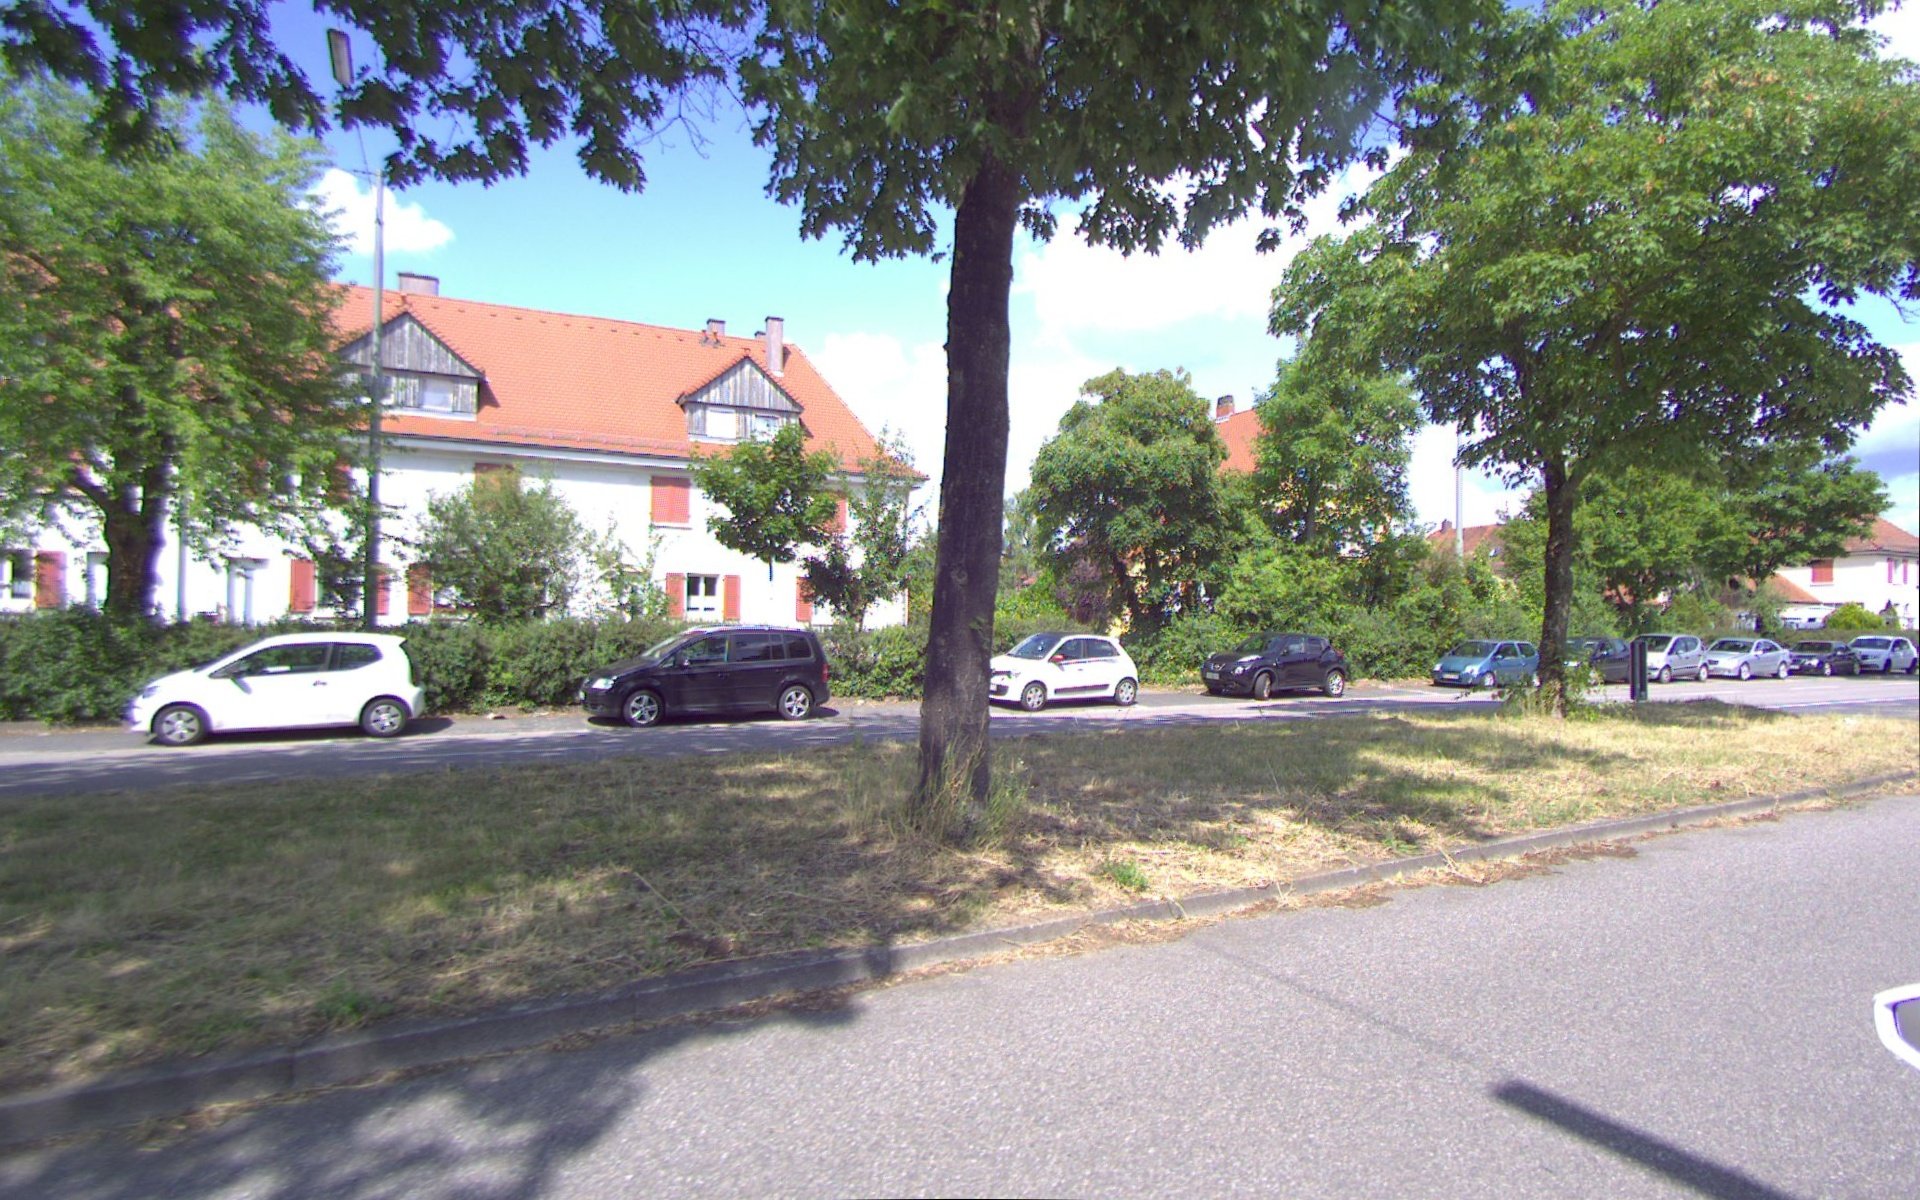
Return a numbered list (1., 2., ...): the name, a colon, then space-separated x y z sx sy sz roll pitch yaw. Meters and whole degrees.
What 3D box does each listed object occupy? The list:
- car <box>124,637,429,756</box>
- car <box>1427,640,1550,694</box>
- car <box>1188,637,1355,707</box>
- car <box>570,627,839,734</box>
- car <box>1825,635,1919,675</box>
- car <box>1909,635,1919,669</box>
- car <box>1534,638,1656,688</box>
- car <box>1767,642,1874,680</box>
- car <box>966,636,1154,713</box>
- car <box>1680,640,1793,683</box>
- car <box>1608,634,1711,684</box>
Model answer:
1. car: -9.799 1.335 14.711 3.494 1.480 1.586 2 0 -31
2. car: 15.451 1.937 29.351 3.436 1.413 1.555 2 0 -30
3. car: 7.715 1.713 24.808 4.055 1.501 1.652 1 1 -31
4. car: -4.439 1.346 17.636 4.264 1.634 1.652 2 0 -31
5. car: 38.285 2.301 42.109 4.072 1.505 1.682 2 0 -28
6. car: 45.290 2.425 45.857 3.942 1.505 1.630 2 0 -28
7. car: 20.027 1.953 31.652 4.305 1.413 1.396 1 0 -30
8. car: 33.646 2.346 39.242 4.526 1.324 1.630 1 0 -28
9. car: 2.198 1.577 21.843 3.802 1.471 1.652 2 0 -31
10. car: 27.941 2.169 36.117 4.474 1.388 1.505 1 0 -28
11. car: 23.590 1.958 33.867 3.697 1.578 1.396 1 0 -30
